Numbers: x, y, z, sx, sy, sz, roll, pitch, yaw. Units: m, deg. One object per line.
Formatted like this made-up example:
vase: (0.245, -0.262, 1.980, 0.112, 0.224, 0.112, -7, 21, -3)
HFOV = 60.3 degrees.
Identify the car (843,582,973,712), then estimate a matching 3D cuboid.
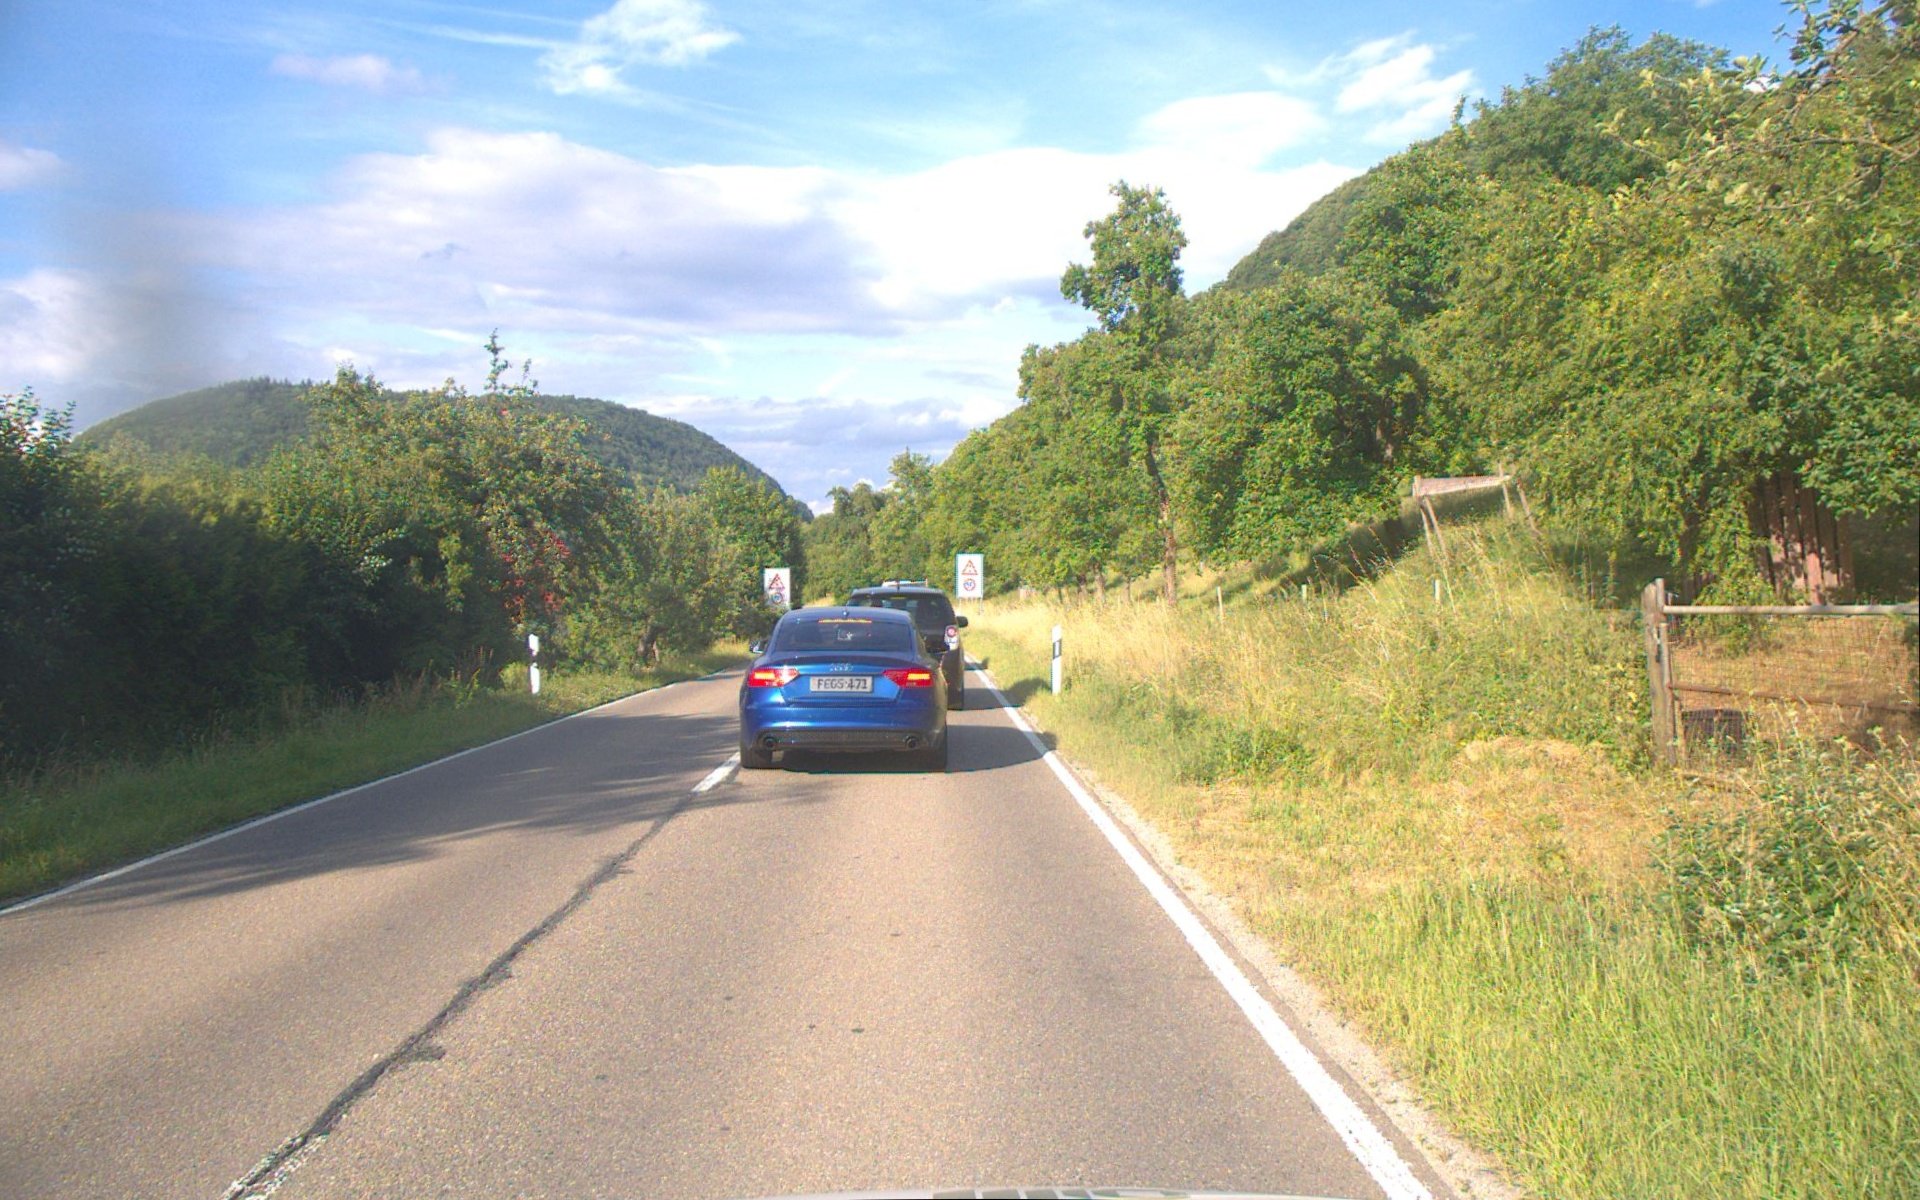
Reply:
car: (-0.724, 0.590, 22.977, 1.658, 1.652, 3.787, 0, 0, -2)

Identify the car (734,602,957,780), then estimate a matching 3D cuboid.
car: (-0.966, 0.740, 15.300, 1.769, 1.406, 4.213, 0, 0, -2)

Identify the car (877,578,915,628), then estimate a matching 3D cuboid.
car: (-3.370, 0.161, 86.654, 1.757, 2.496, 3.915, 1, 0, -5)

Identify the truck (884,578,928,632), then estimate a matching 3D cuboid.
truck: (-2.522, 0.218, 76.221, 1.911, 2.386, 5.091, 1, 0, -3)

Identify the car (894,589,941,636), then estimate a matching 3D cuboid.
car: (-1.557, 0.439, 59.863, 1.658, 1.652, 3.787, 0, 0, -2)

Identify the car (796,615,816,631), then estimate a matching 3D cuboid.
car: (-15.968, 2.366, 171.722, 1.532, 1.522, 3.764, 1, 0, -14)
